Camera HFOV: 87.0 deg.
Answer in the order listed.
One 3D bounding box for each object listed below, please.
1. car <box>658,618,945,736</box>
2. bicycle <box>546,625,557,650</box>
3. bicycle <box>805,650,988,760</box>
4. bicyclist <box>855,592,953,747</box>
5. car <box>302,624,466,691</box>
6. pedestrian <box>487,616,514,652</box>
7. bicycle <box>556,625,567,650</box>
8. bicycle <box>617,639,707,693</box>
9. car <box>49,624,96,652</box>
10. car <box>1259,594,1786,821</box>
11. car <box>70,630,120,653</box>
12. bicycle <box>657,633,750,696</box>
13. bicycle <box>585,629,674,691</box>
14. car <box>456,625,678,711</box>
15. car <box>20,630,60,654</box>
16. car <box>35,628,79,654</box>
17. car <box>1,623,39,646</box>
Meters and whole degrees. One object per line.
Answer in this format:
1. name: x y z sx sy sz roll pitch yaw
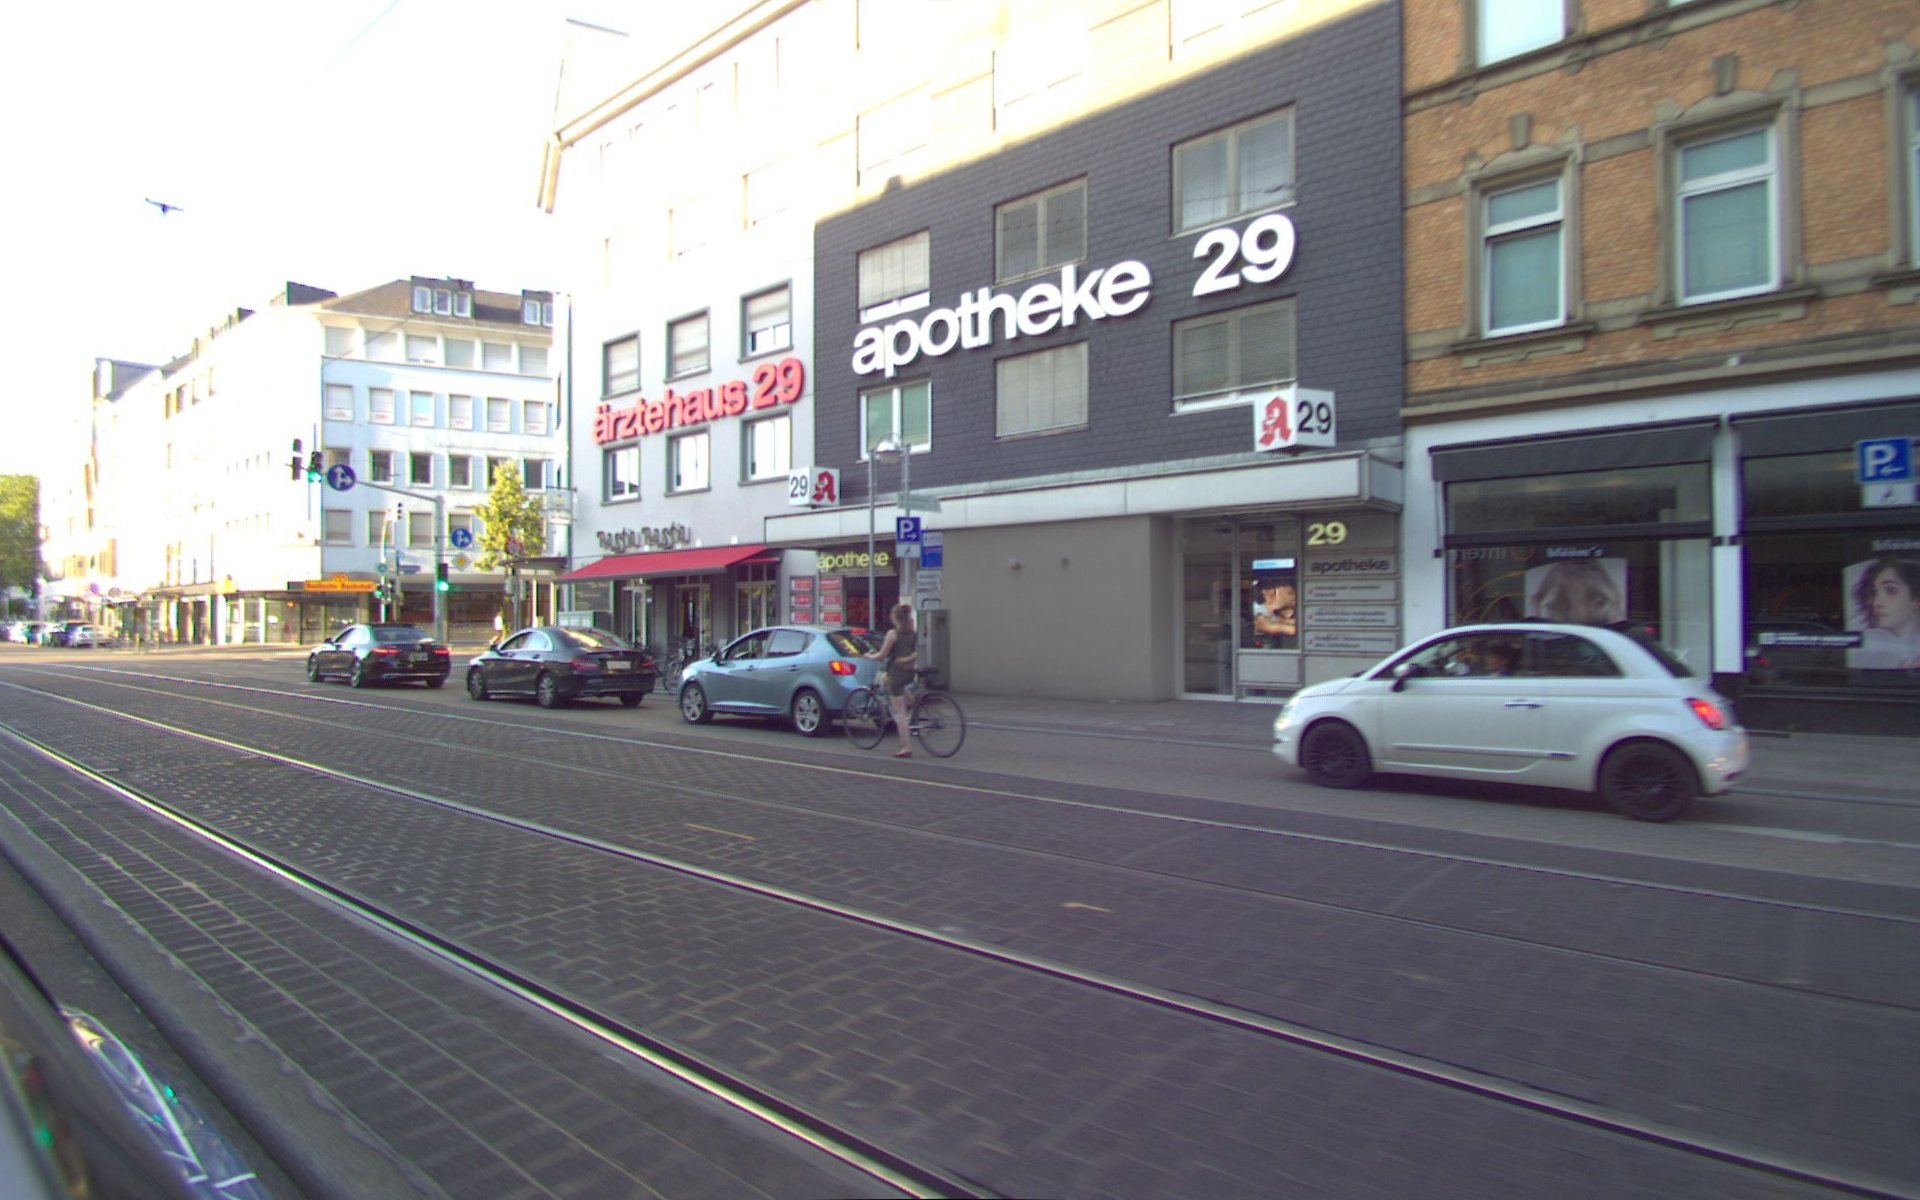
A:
1. car: -2.296 0.998 14.086 4.059 1.397 1.740 -2 -4 41
2. bicycle: -20.361 1.860 50.405 0.462 1.213 1.925 0 -1 -24
3. bicycle: -0.726 1.085 10.966 2.079 1.042 0.686 -1 -1 40
4. bicyclist: -0.602 0.718 10.867 0.798 1.577 0.686 -2 -1 39
5. car: -13.433 1.293 23.480 4.561 1.397 1.894 -2 -4 41
6. pedestrian: -23.065 1.706 50.822 0.980 1.739 0.806 -1 0 3
7. bicycle: -19.987 1.874 50.750 0.462 1.213 1.925 0 -1 -24
8. bicycle: -6.500 1.422 22.174 0.607 0.991 1.837 -1 1 40
9. car: -54.678 2.347 62.327 4.000 1.647 1.823 -2 -1 43
10. car: 4.643 0.793 8.634 3.678 1.517 1.650 -1 -4 40
11. car: -50.932 2.421 59.538 4.000 1.304 1.823 -2 -1 43
12. bicycle: -5.378 1.323 21.304 0.607 1.143 1.837 -1 1 40
13. bicycle: -7.548 1.344 23.184 0.607 1.236 1.837 -1 1 40
14. car: -7.304 1.184 18.577 4.561 1.397 1.894 -2 -4 41
15. car: -65.223 2.967 71.722 4.000 1.647 1.823 -2 -1 43
16. car: -59.486 2.668 66.619 4.000 1.647 1.823 -2 -1 43
17. car: -69.600 2.526 74.936 4.000 1.647 1.823 -2 -1 43
